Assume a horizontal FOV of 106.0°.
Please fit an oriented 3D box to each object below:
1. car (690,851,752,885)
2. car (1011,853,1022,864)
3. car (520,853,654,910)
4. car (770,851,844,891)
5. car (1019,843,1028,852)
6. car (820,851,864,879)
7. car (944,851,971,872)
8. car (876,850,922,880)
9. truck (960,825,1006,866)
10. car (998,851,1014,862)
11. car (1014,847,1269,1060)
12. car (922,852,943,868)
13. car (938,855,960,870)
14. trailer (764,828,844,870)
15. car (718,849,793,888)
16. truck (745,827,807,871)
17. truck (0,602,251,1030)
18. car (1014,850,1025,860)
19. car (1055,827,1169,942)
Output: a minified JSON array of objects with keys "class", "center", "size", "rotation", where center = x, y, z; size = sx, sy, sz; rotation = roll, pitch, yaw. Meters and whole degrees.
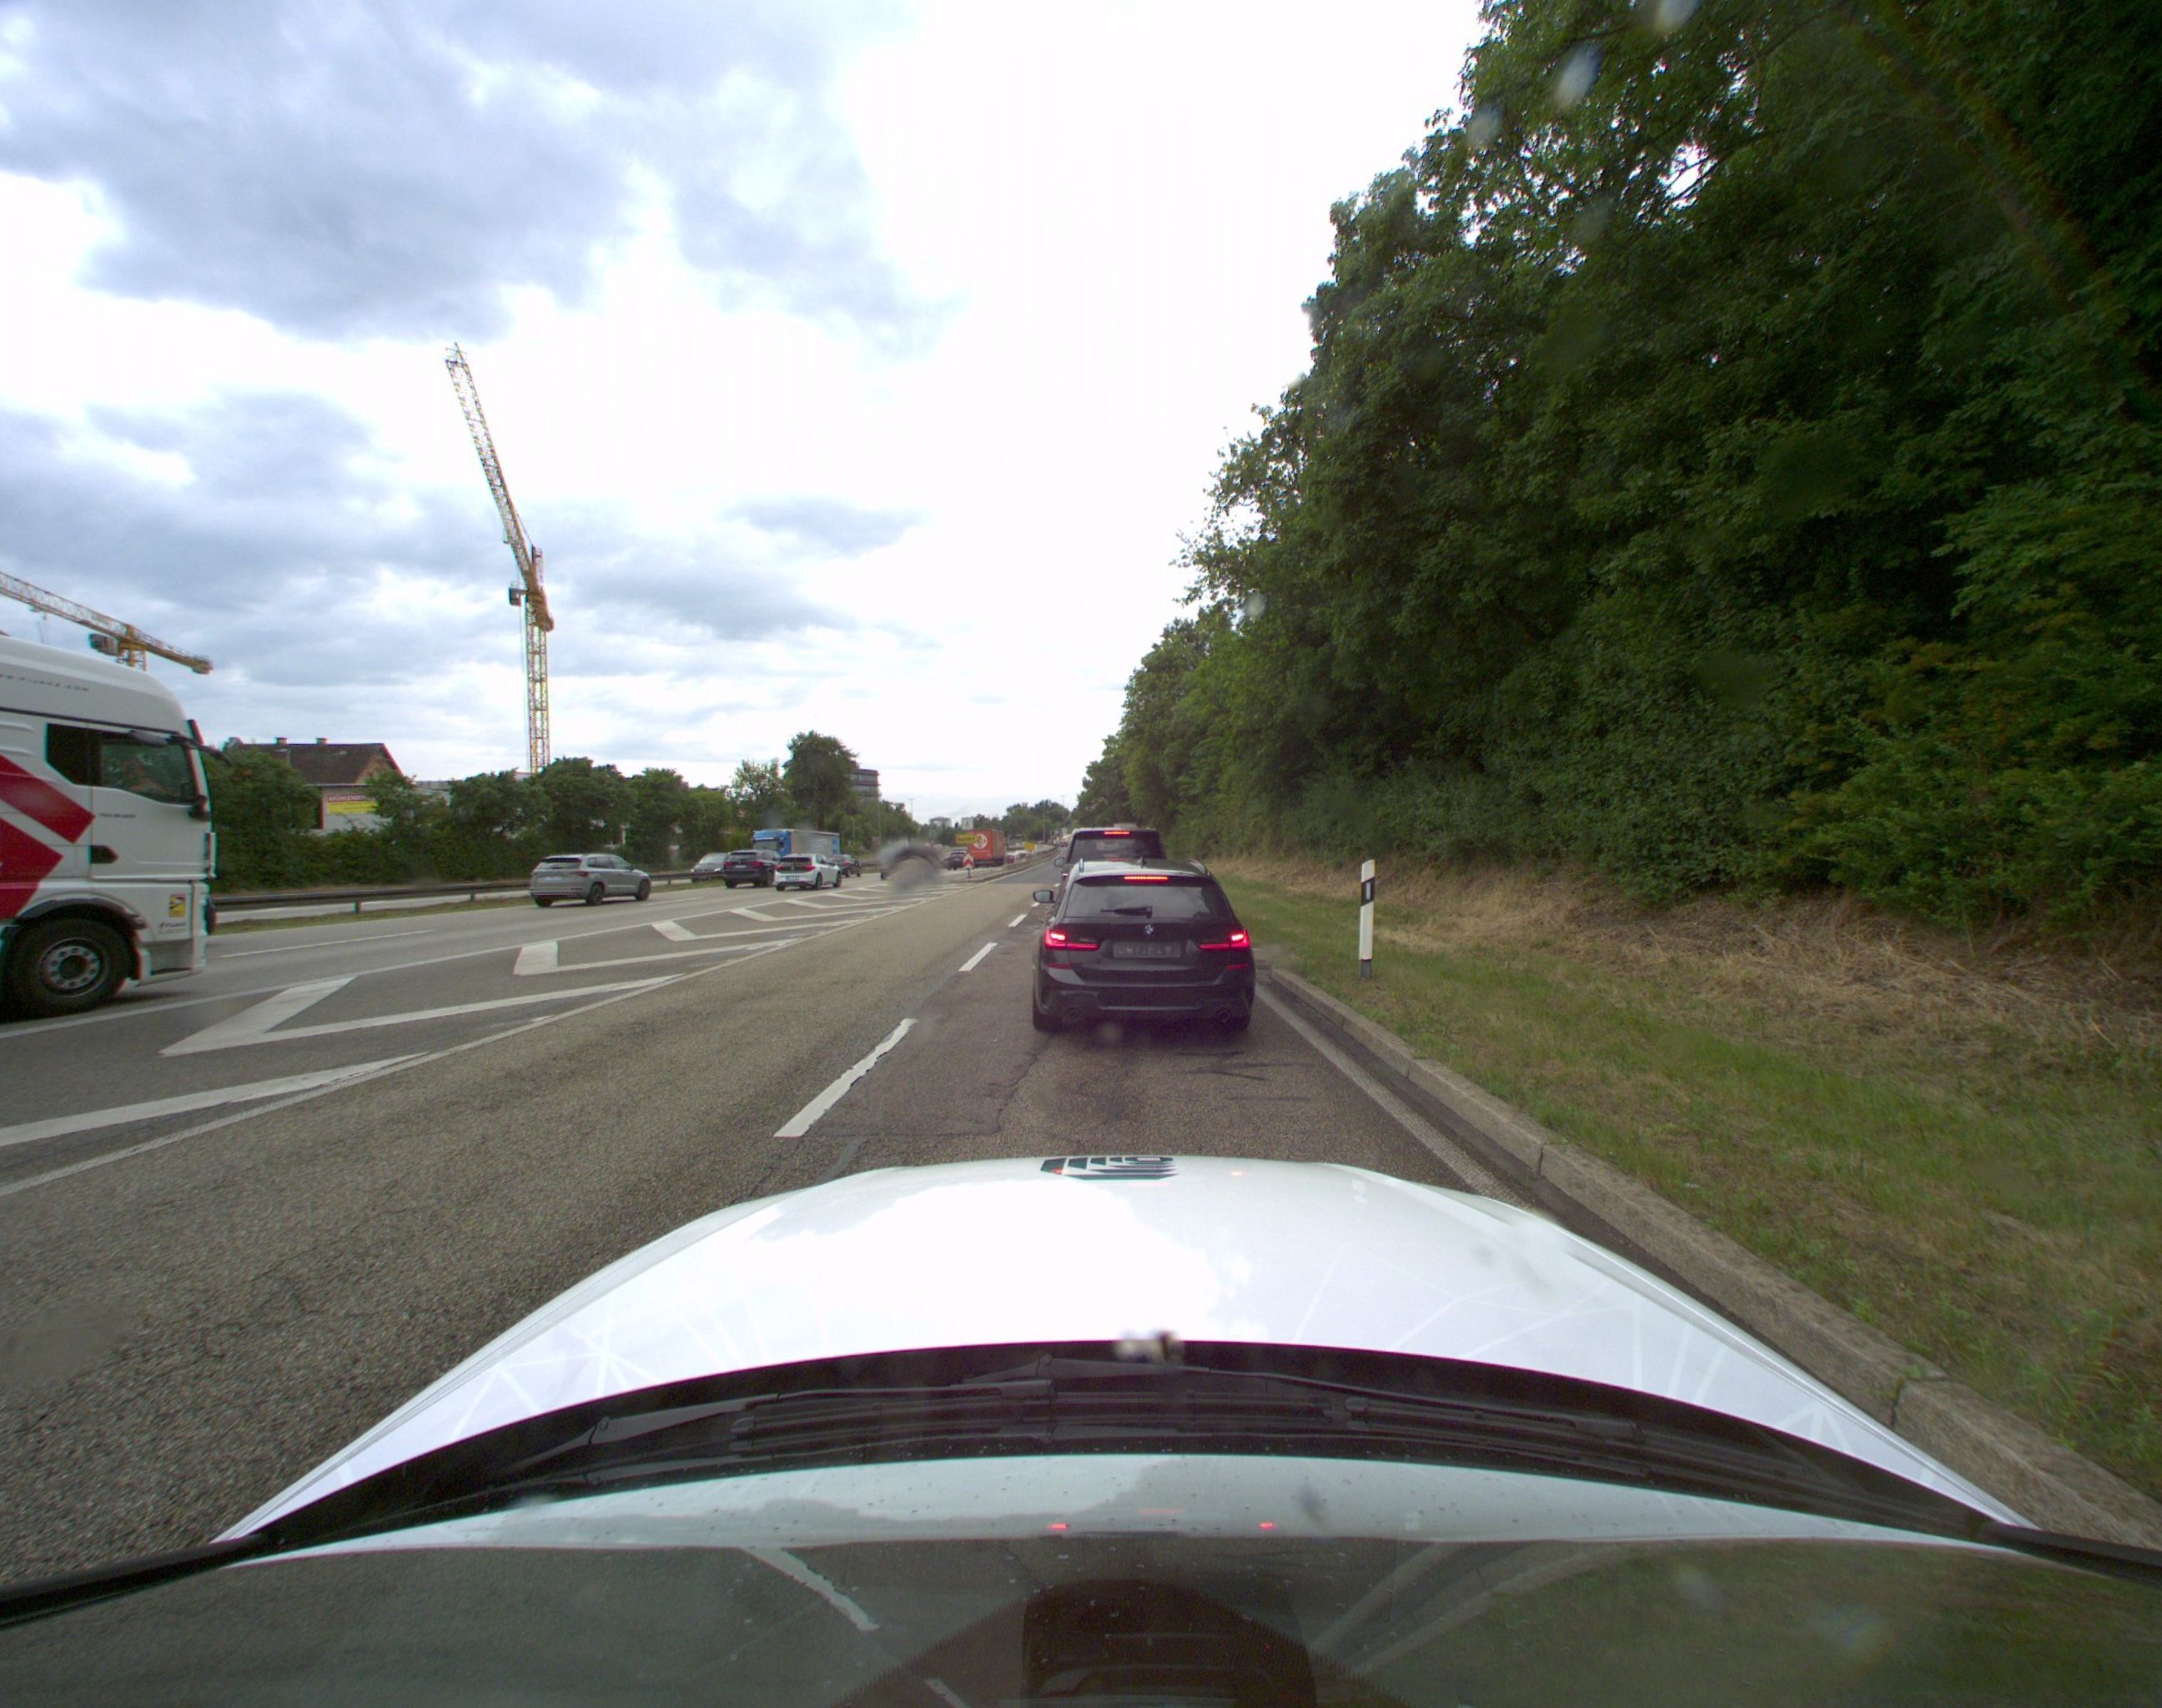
[{"class":"car","center":[-22.593,0.814,51.286],"size":[1.986,2.013,4.002],"rotation":[-1,0,2]},{"class":"car","center":[-9.692,0.705,122.838],"size":[1.552,1.552,3.815],"rotation":[0,0,-2]},{"class":"car","center":[-15.548,0.816,25.894],"size":[1.723,1.601,3.929],"rotation":[-1,0,1]},{"class":"car","center":[-11.659,0.712,34.938],"size":[1.794,1.604,4.256],"rotation":[0,0,-1]},{"class":"car","center":[-11.329,-1.277,159.459],"size":[1.552,1.552,3.997],"rotation":[0,0,-2]},{"class":"car","center":[-15.503,0.698,52.998],"size":[1.712,1.716,3.998],"rotation":[0,0,-1]},{"class":"car","center":[-11.238,0.671,74.287],"size":[1.855,1.816,3.997],"rotation":[0,0,-1]},{"class":"car","center":[-10.450,0.591,46.996],"size":[1.787,1.640,3.998],"rotation":[-1,0,-1]},{"class":"truck","center":[-10.773,-0.943,90.917],"size":[3.479,4.073,13.587],"rotation":[-2,0,-1]},{"class":"car","center":[-10.272,0.339,111.935],"size":[1.772,1.482,3.999],"rotation":[-1,0,0]},{"class":"car","center":[0.436,0.707,7.932],"size":[1.819,1.482,3.999],"rotation":[-2,0,0]},{"class":"car","center":[-14.839,0.610,81.348],"size":[1.518,1.519,3.996],"rotation":[0,0,-3]},{"class":"car","center":[-14.717,0.915,91.031],"size":[1.853,1.618,3.999],"rotation":[0,0,0]},{"class":"trailer","center":[-26.286,-0.404,78.250],"size":[2.676,3.703,13.264],"rotation":[0,0,2]},{"class":"car","center":[-15.167,0.649,38.205],"size":[1.868,1.716,4.000],"rotation":[0,0,0]},{"class":"truck","center":[-26.569,-0.400,71.312],"size":[2.761,3.710,6.640],"rotation":[0,0,2]},{"class":"truck","center":[-11.537,-0.354,6.209],"size":[3.190,3.947,7.069],"rotation":[0,0,-1]},{"class":"car","center":[-10.354,0.167,137.851],"size":[1.552,1.552,3.997],"rotation":[-1,0,-2]},{"class":"car","center":[0.540,0.494,14.976],"size":[1.816,1.822,4.001],"rotation":[0,0,1]}]
